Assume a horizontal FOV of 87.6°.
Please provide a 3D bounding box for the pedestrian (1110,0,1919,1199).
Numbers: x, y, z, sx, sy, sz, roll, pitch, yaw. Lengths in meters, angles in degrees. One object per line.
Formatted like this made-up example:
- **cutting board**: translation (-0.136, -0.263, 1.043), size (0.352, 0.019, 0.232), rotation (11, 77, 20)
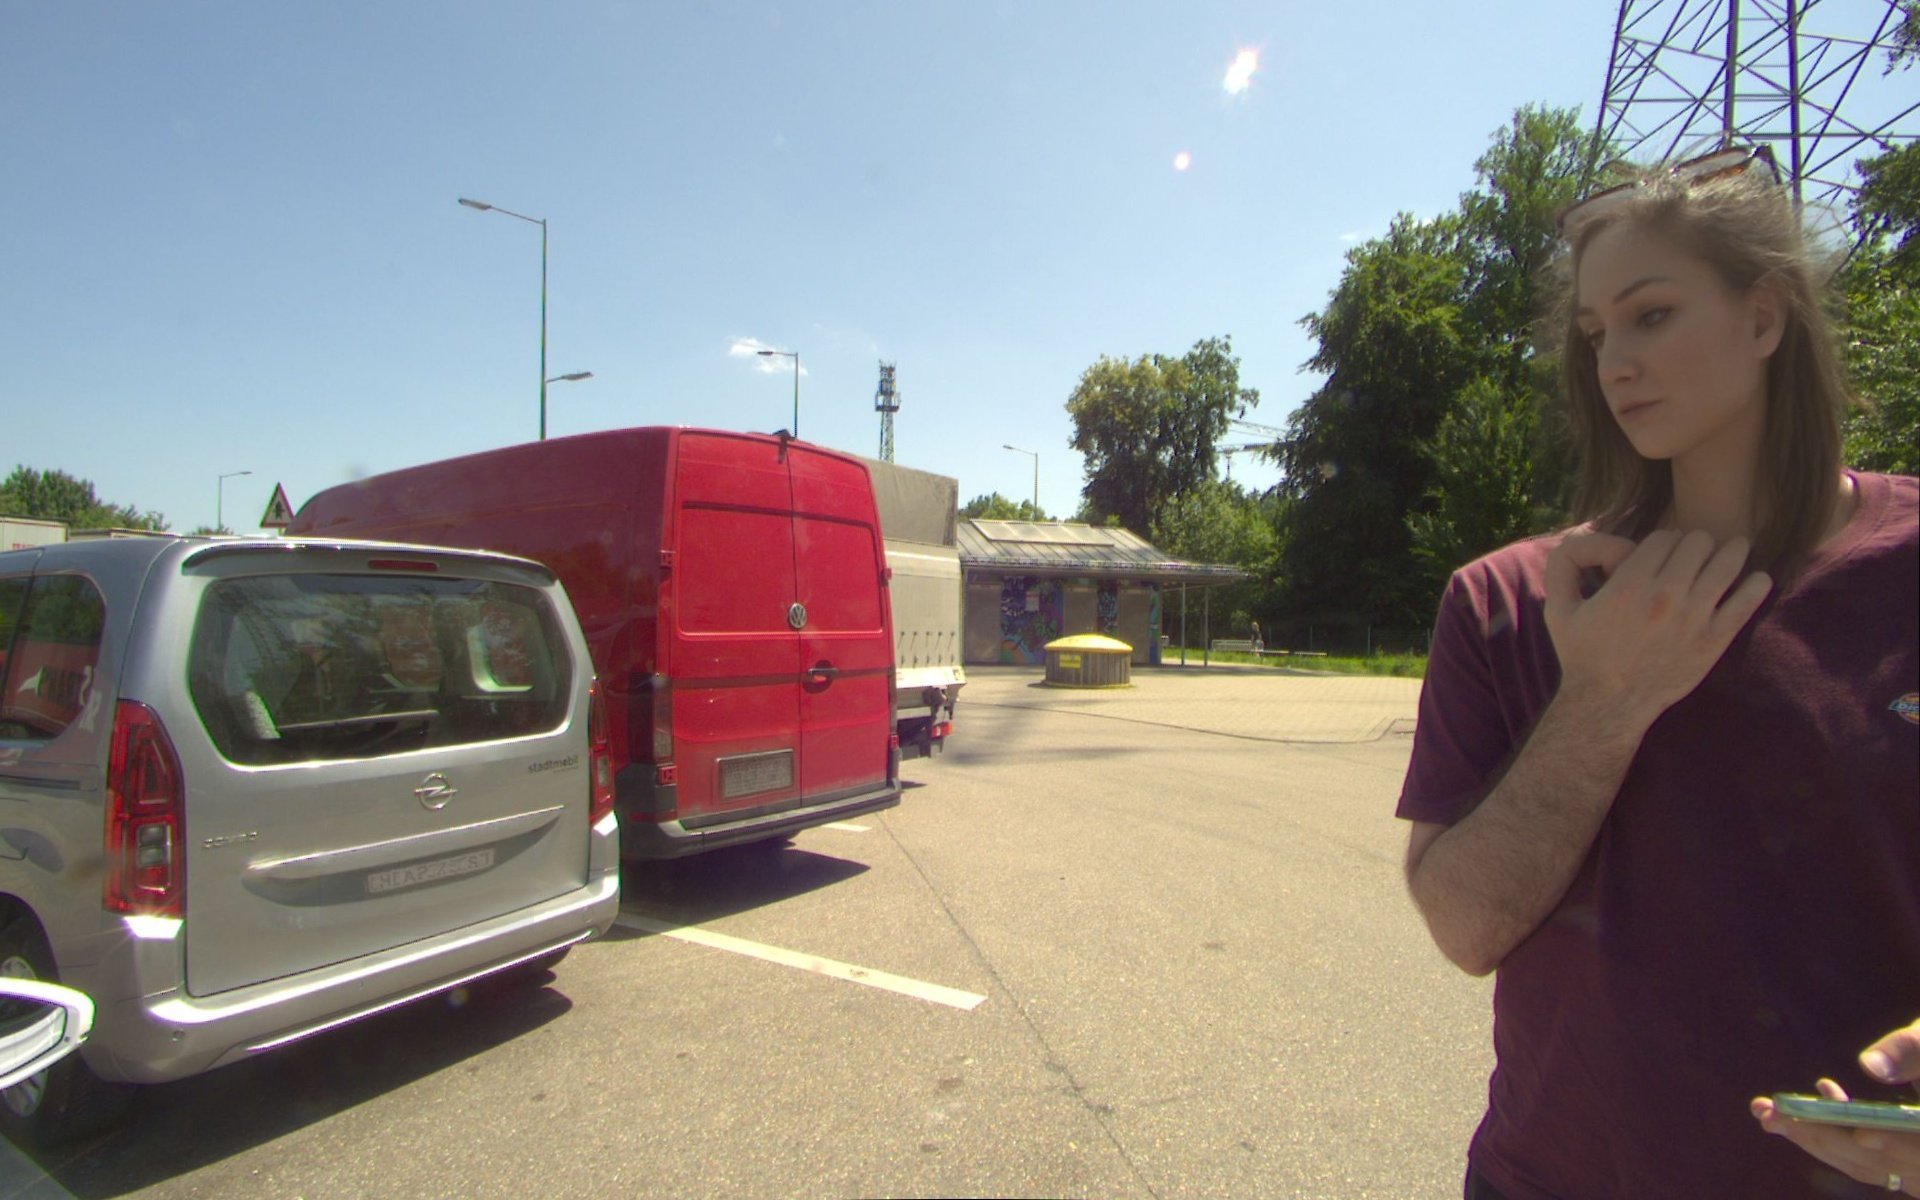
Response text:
- **pedestrian**: translation (0.698, 0.514, 0.832), size (0.926, 1.798, 0.827), rotation (1, 0, 28)

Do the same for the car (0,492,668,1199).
- **car**: translation (-3.349, 0.639, 4.209), size (3.938, 1.776, 1.824), rotation (0, -1, 29)

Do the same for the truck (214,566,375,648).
- **truck**: translation (-30.711, 0.330, 46.068), size (8.407, 3.482, 3.019), rotation (0, -1, 33)

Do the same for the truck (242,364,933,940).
- **truck**: translation (-2.863, 0.264, 6.994), size (5.233, 2.658, 1.987), rotation (0, -1, 37)

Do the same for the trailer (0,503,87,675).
- **trailer**: translation (-28.798, -0.283, 28.026), size (13.374, 4.178, 2.871), rotation (0, -1, 33)

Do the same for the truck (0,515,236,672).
- **truck**: translation (-27.992, -0.123, 31.780), size (14.316, 4.175, 2.901), rotation (0, -3, 33)

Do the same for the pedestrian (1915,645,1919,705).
- **pedestrian**: translation (17.284, 1.323, 17.424), size (0.797, 1.062, 0.712), rotation (0, -1, 30)

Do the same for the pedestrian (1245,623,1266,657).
- **pedestrian**: translation (12.572, 1.691, 42.611), size (0.579, 1.402, 0.754), rotation (1, 0, -8)
